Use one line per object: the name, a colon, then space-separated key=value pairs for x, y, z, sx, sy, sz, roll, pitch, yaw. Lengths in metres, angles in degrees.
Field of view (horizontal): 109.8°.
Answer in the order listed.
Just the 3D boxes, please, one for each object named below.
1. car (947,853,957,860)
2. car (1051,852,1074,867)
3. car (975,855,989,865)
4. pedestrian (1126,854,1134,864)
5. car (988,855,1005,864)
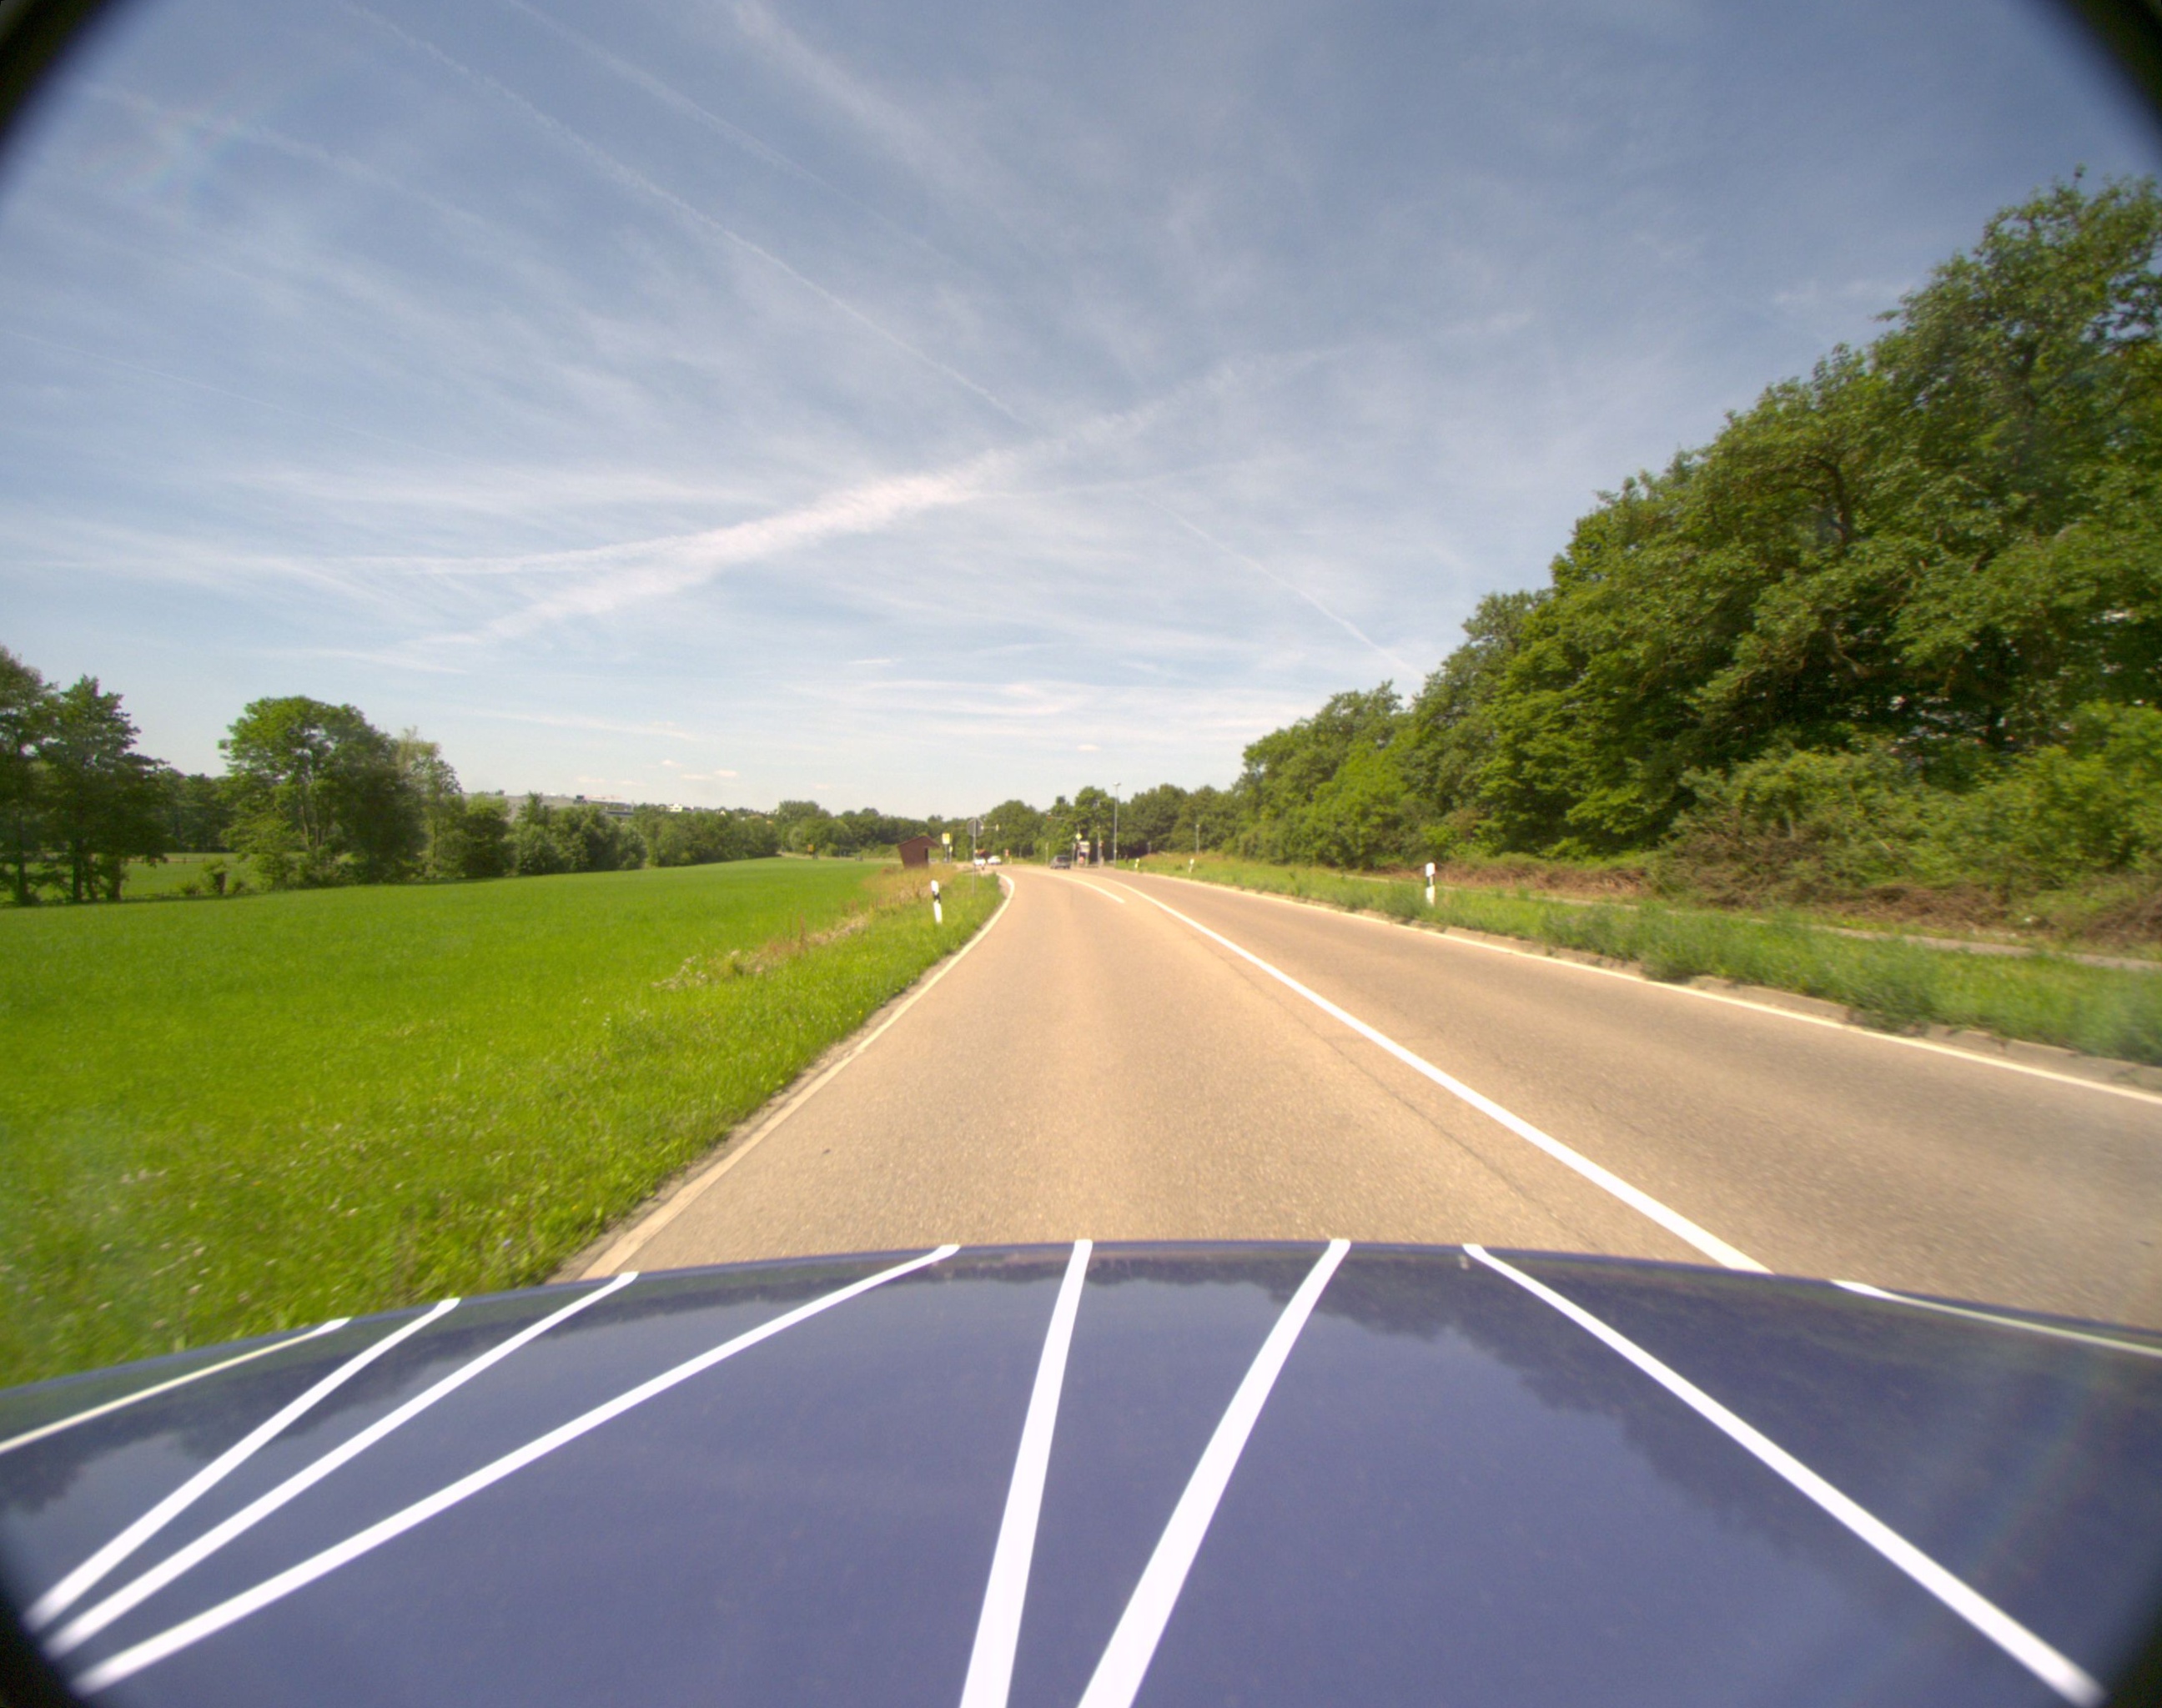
car: x=-30.457 y=0.549 z=179.423 sx=1.714 sy=1.474 sz=3.825 roll=-2 pitch=0 yaw=-21
car: x=-2.135 y=0.617 z=86.349 sx=1.761 sy=1.525 sz=4.223 roll=-2 pitch=0 yaw=-14
car: x=-17.355 y=1.061 z=133.074 sx=2.001 sy=1.576 sz=3.995 roll=-2 pitch=0 yaw=-14
pedestrian: x=7.994 y=0.819 z=124.180 sx=0.920 sy=1.726 sz=0.900 roll=-2 pitch=1 yaw=21
car: x=-15.345 y=1.026 z=137.341 sx=1.945 sy=1.539 sz=4.619 roll=-2 pitch=0 yaw=-21
